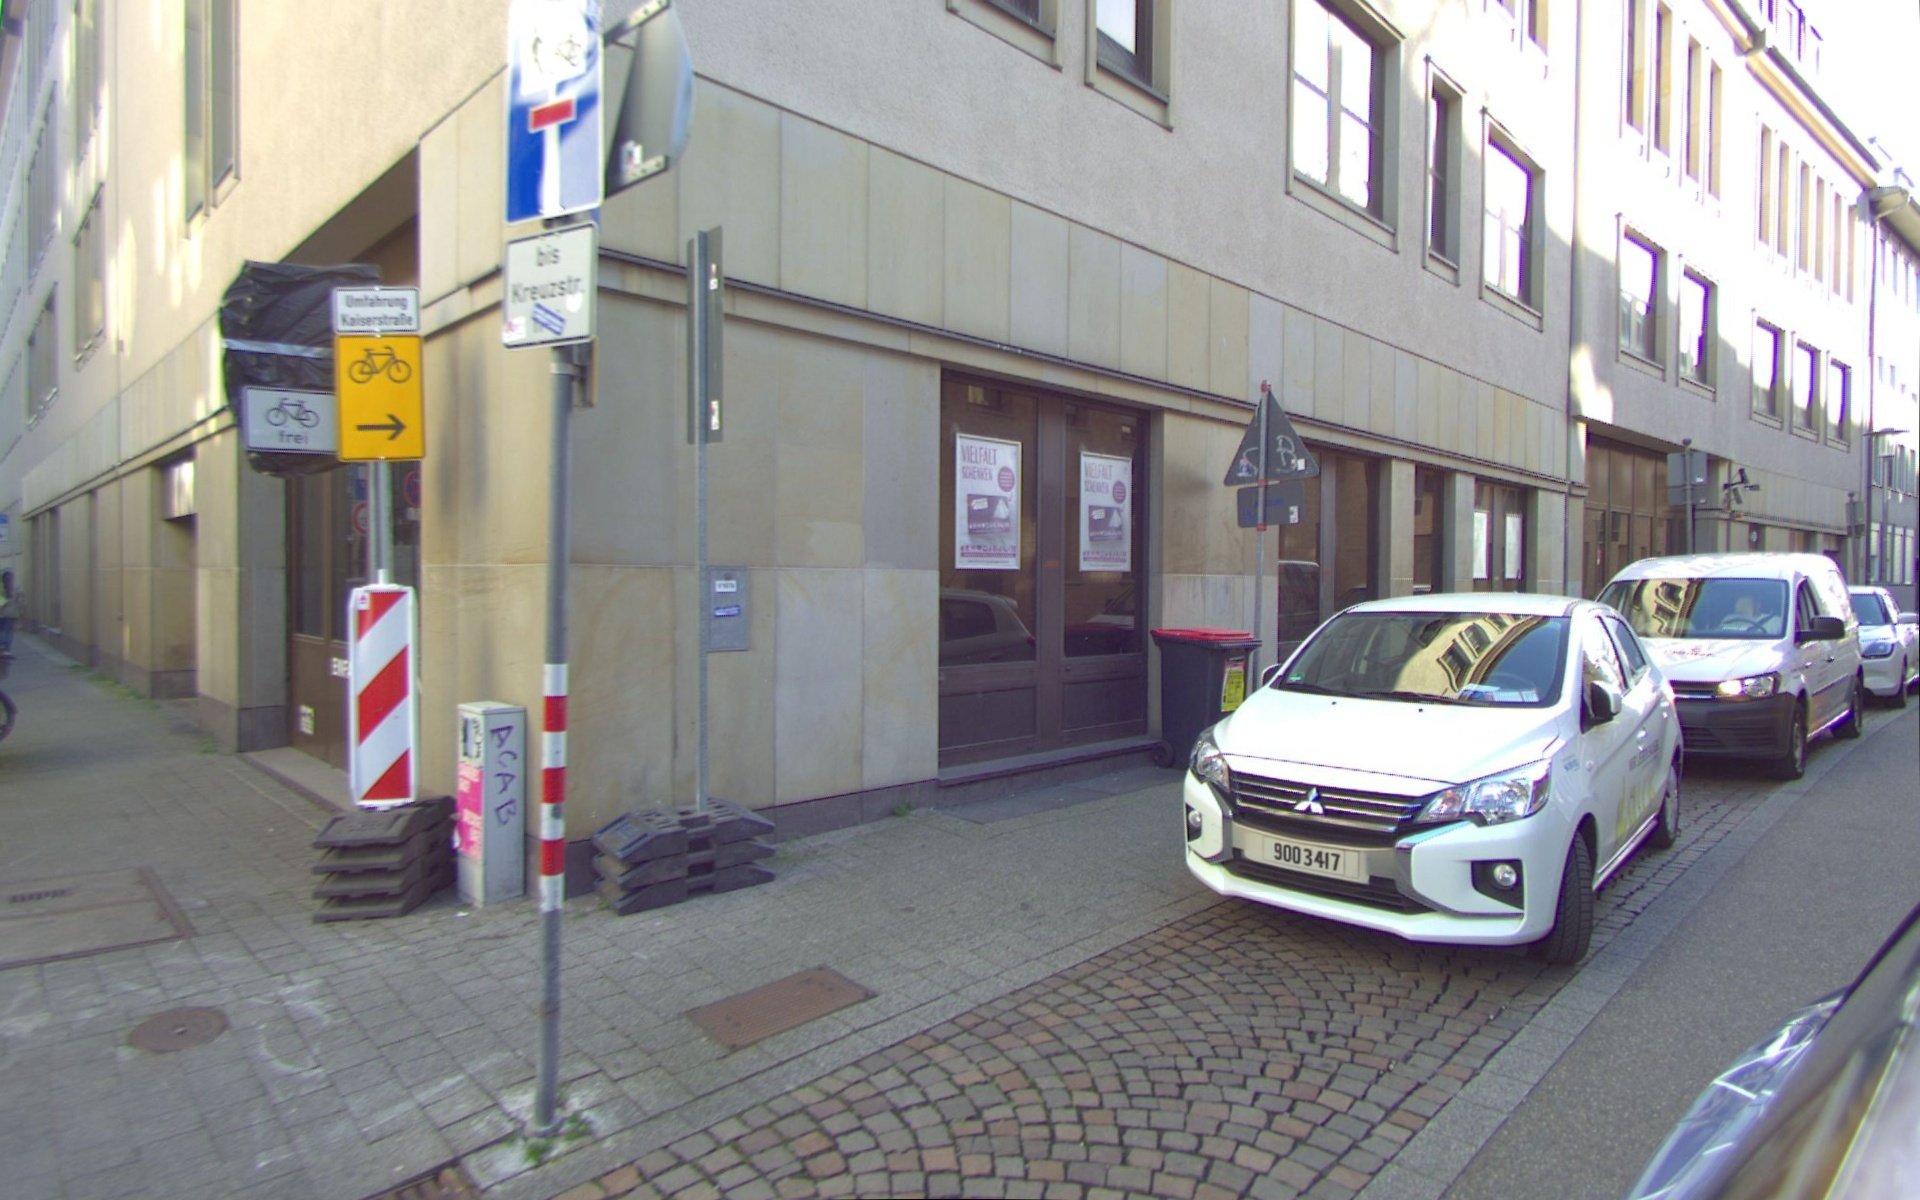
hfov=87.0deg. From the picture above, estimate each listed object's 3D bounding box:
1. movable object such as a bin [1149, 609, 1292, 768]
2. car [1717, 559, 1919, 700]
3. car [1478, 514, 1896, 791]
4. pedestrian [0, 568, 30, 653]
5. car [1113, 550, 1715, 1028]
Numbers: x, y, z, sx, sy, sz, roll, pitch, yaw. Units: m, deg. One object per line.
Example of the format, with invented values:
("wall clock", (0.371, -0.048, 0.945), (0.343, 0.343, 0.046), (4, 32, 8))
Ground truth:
("movable object such as a bin", (1.991, 0.631, 7.708), (0.686, 1.099, 0.914), (0, 0, 45))
("car", (11.671, 0.354, 13.435), (3.790, 1.604, 1.773), (-1, -3, -41))
("car", (6.889, 0.368, 9.321), (5.105, 1.885, 1.945), (-1, -3, -41))
("pedestrian", (-18.156, 0.190, 19.196), (0.636, 1.606, 0.711), (1, 1, 43))
("car", (2.655, 0.600, 5.364), (1.730, 1.568, 3.938), (0, 0, 43))
